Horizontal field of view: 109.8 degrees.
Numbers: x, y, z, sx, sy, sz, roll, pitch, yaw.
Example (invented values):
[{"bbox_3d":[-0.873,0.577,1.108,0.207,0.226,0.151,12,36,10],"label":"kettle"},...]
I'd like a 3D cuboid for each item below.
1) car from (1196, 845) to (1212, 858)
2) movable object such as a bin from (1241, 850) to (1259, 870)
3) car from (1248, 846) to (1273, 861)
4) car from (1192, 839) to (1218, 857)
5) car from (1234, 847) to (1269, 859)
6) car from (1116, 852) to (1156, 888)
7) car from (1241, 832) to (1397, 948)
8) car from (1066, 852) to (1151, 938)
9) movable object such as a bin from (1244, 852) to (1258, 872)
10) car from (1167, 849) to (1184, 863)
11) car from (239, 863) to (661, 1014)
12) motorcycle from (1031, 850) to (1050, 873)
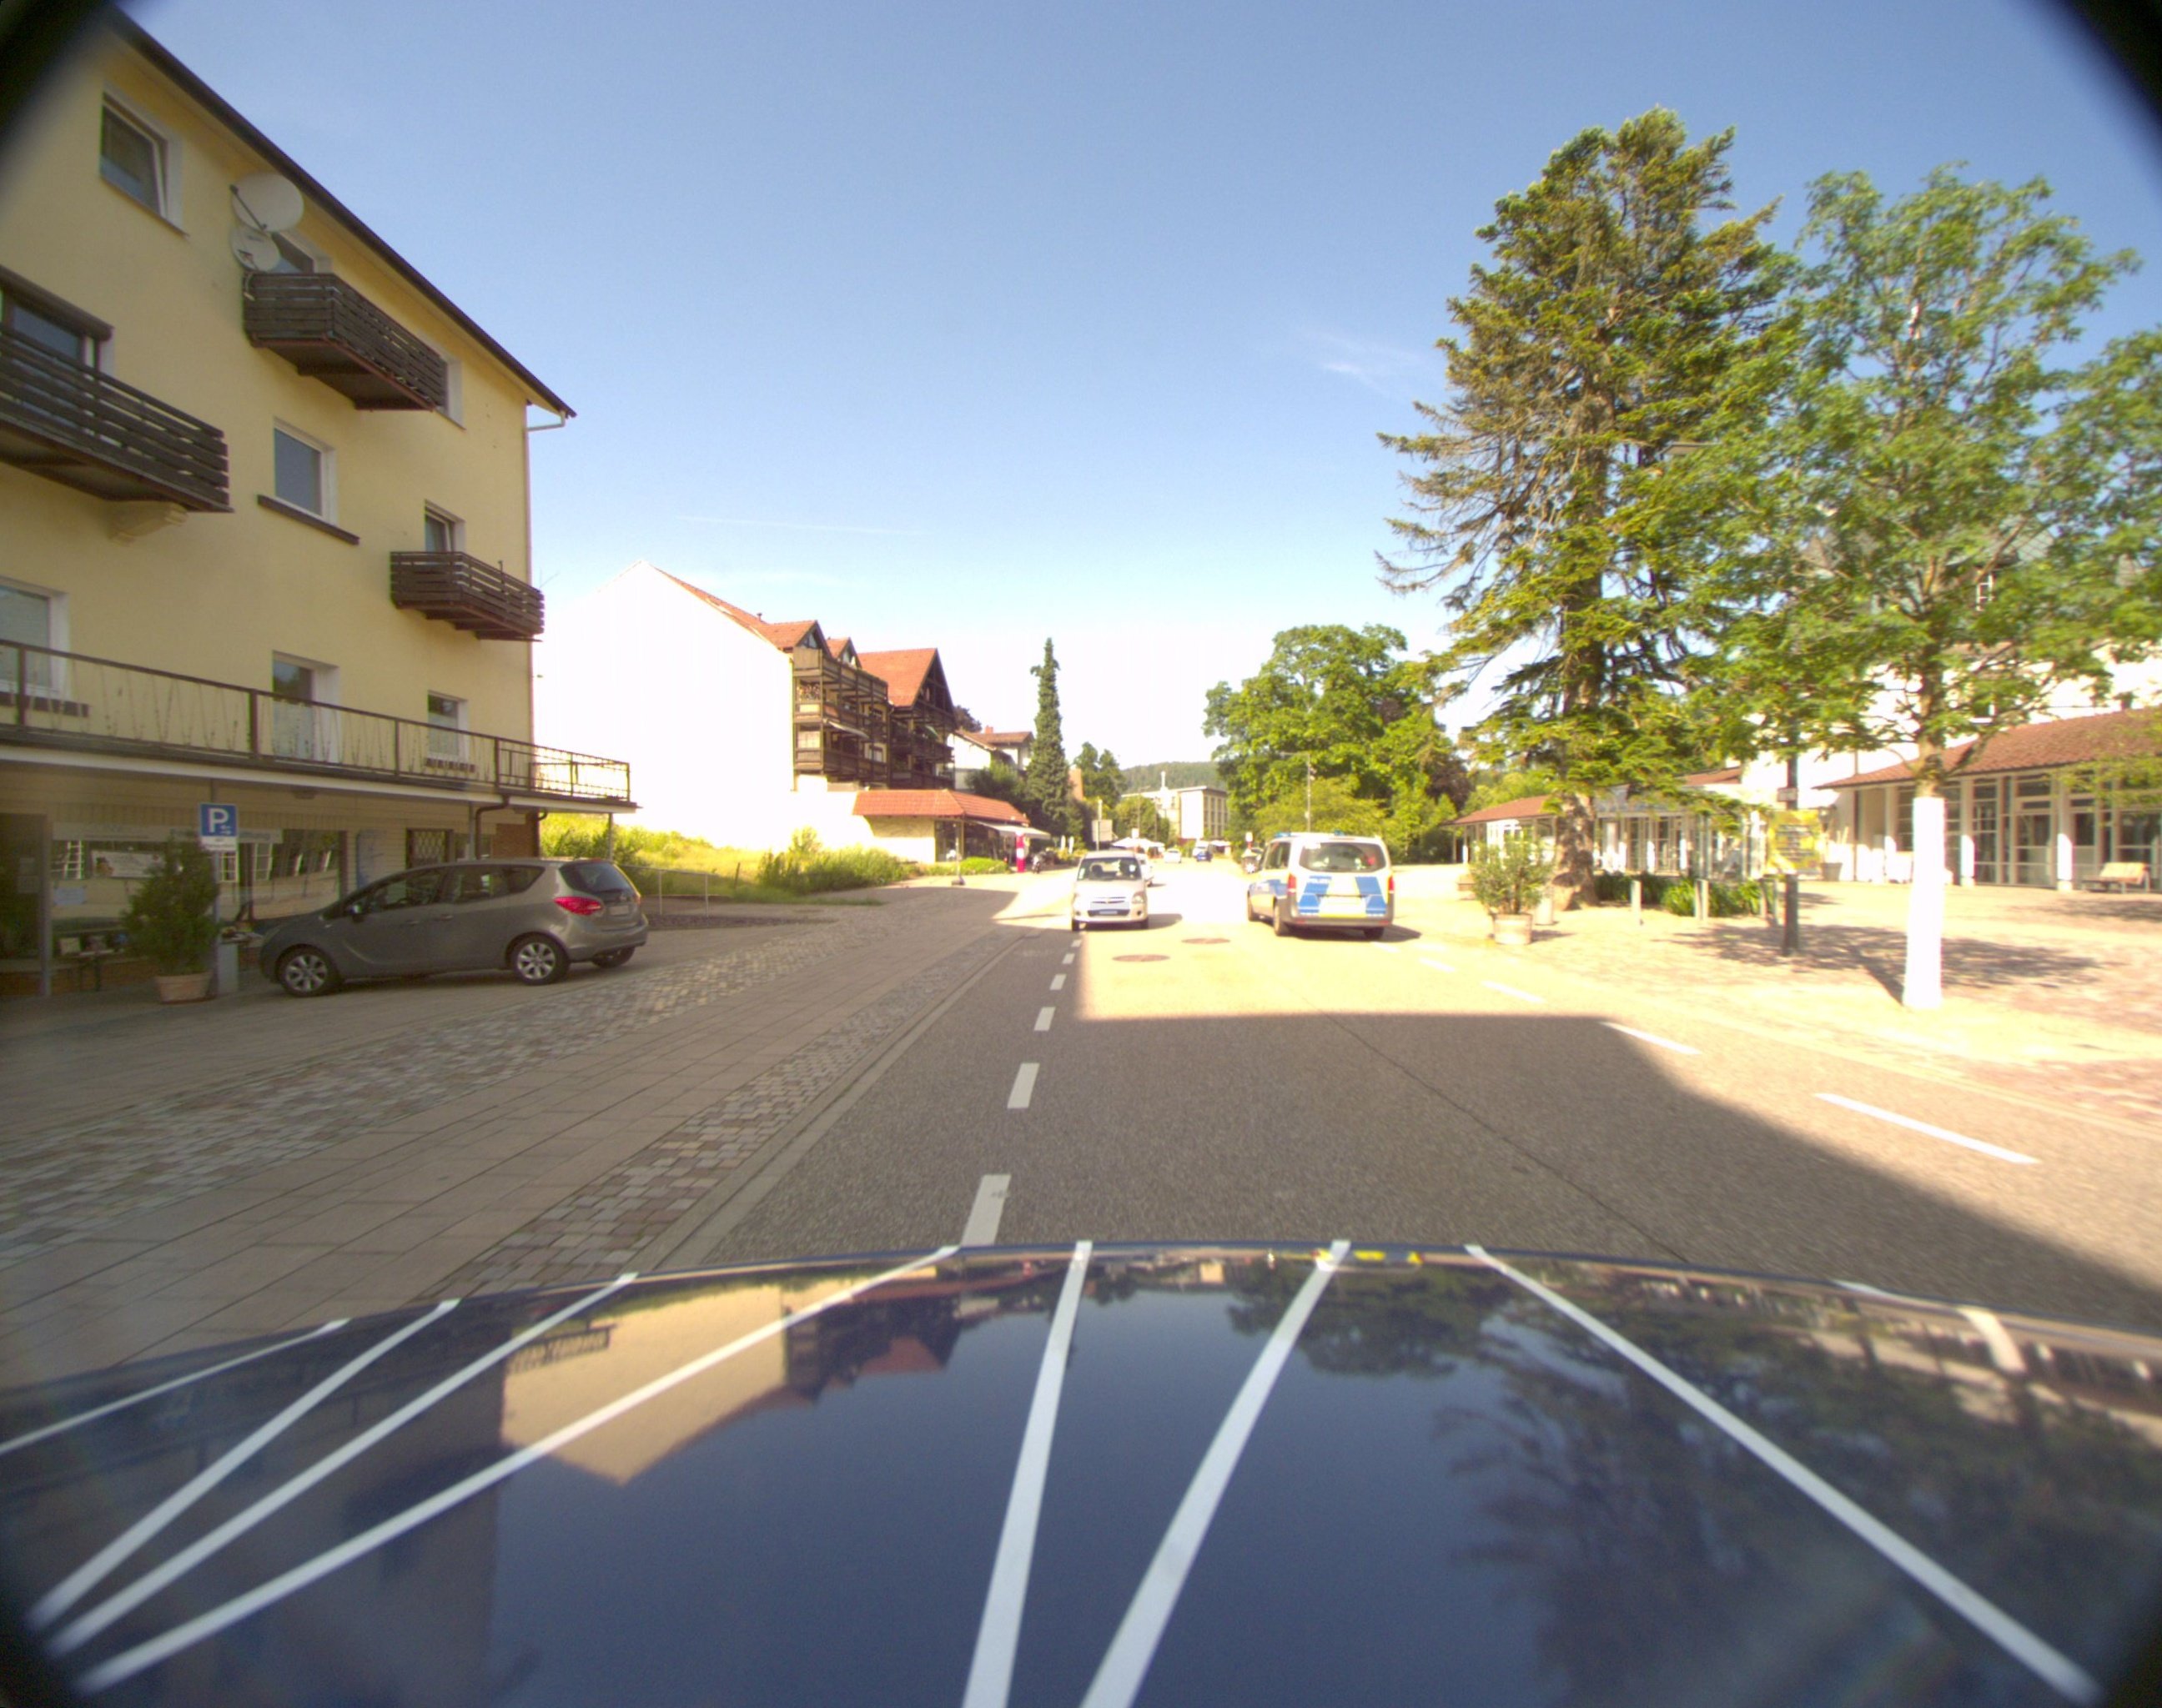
[{"bbox_3d":[15.190,-0.361,93.925,1.744,1.454,4.188,2,2,6],"label":"car"},{"bbox_3d":[12.081,0.427,54.410,1.080,1.419,1.377,-2,1,8],"label":"movable object such as a bin"},{"bbox_3d":[21.044,-0.059,88.984,2.654,1.538,1.684,-2,1,17],"label":"car"},{"bbox_3d":[19.586,-0.977,119.854,1.785,2.775,5.924,-1,0,33],"label":"car"},{"bbox_3d":[22.190,-0.146,98.977,4.284,1.423,1.713,-2,1,5],"label":"car"},{"bbox_3d":[2.510,0.698,35.082,1.740,1.488,3.930,-1,0,3],"label":"car"},{"bbox_3d":[4.534,0.586,15.320,1.859,1.942,5.018,1,1,4],"label":"car"},{"bbox_3d":[0.612,0.793,16.826,1.604,1.628,4.000,-2,0,2],"label":"car"},{"bbox_3d":[11.726,0.546,52.399,0.756,1.334,1.295,-2,1,8],"label":"movable object such as a bin"},{"bbox_3d":[10.718,0.231,85.971,1.653,1.462,4.003,-2,0,10],"label":"car"},{"bbox_3d":[-7.920,1.005,9.851,3.869,1.545,1.760,-3,1,-1],"label":"car"},{"bbox_3d":[-2.353,0.415,44.216,0.698,1.289,2.213,3,1,7],"label":"motorcycle"}]
